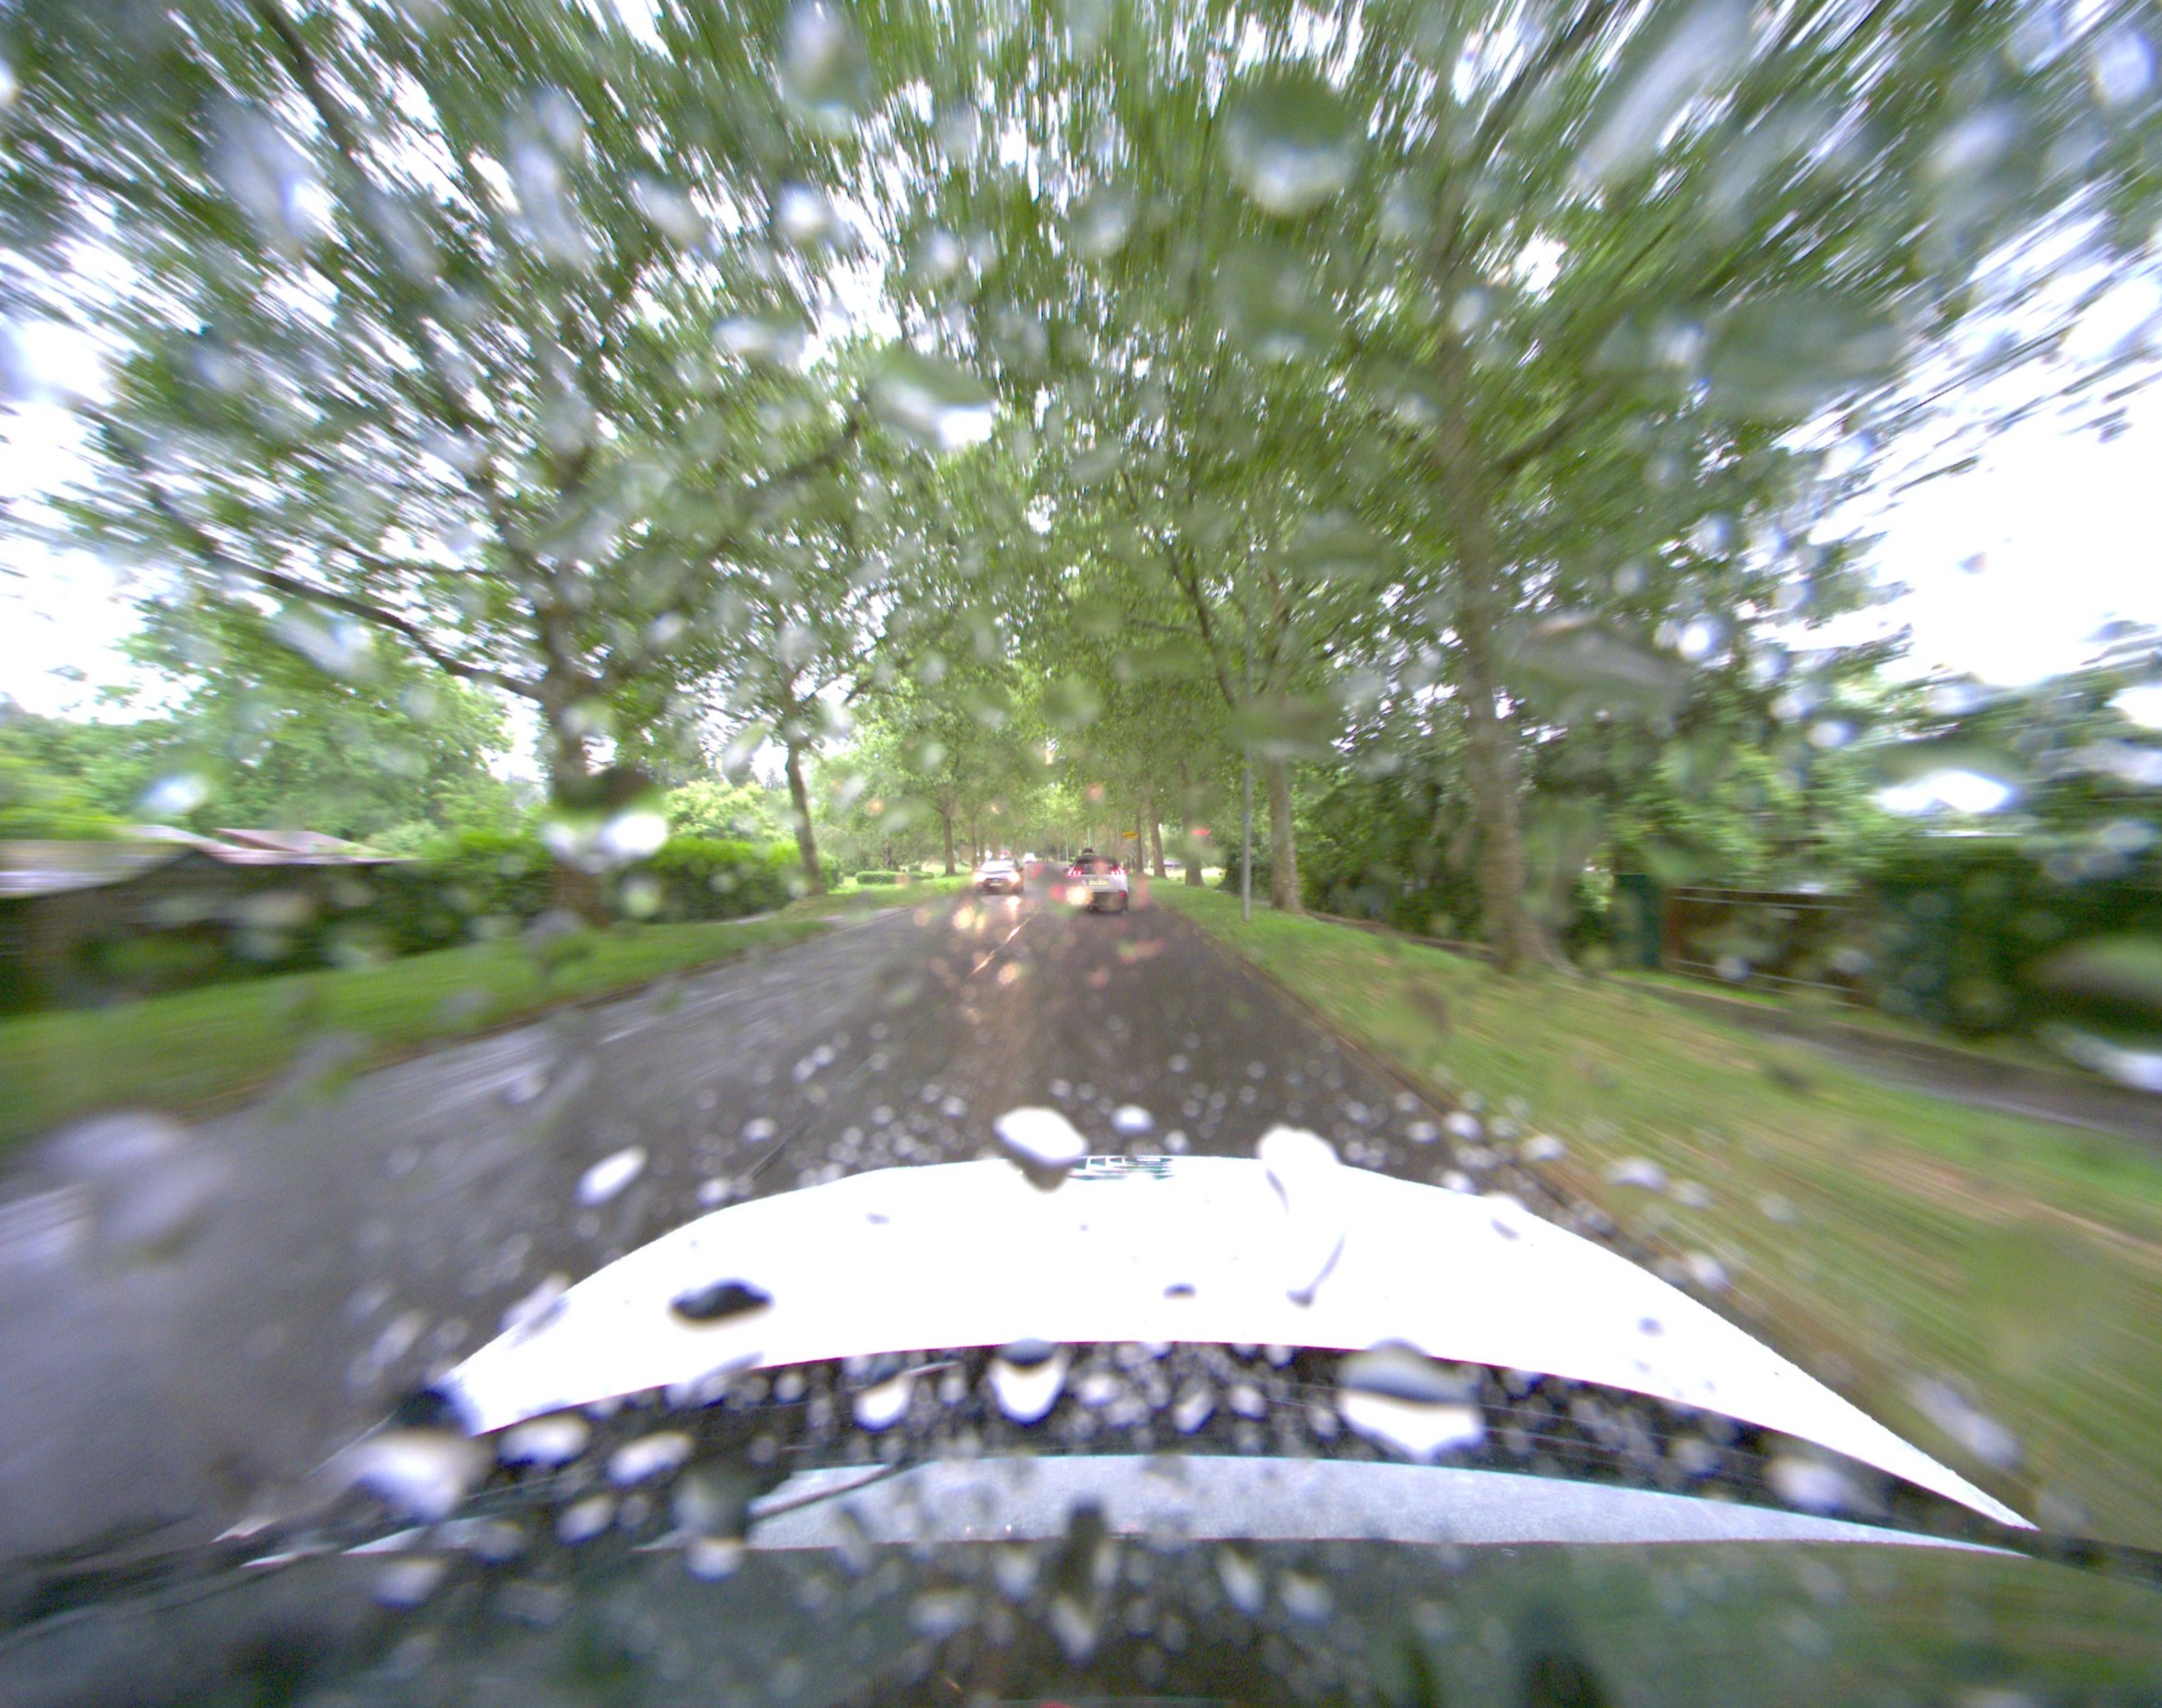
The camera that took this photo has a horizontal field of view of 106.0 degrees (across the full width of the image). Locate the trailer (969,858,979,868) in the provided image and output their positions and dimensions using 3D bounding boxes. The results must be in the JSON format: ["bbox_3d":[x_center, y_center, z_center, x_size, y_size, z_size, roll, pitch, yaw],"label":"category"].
[{"bbox_3d":[-26.011,2.175,198.339,2.483,2.567,5.317,0,0,-8],"label":"trailer"}]

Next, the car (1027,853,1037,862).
[{"bbox_3d":[-9.511,0.652,158.828,1.858,1.750,5.011,0,0,-2],"label":"car"}]

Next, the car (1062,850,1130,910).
[{"bbox_3d":[0.450,0.696,23.573,1.787,1.578,3.845,0,0,1],"label":"car"}]

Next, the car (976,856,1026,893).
[{"bbox_3d":[-3.332,0.832,34.465,1.841,1.502,3.997,0,0,-2],"label":"car"}]
